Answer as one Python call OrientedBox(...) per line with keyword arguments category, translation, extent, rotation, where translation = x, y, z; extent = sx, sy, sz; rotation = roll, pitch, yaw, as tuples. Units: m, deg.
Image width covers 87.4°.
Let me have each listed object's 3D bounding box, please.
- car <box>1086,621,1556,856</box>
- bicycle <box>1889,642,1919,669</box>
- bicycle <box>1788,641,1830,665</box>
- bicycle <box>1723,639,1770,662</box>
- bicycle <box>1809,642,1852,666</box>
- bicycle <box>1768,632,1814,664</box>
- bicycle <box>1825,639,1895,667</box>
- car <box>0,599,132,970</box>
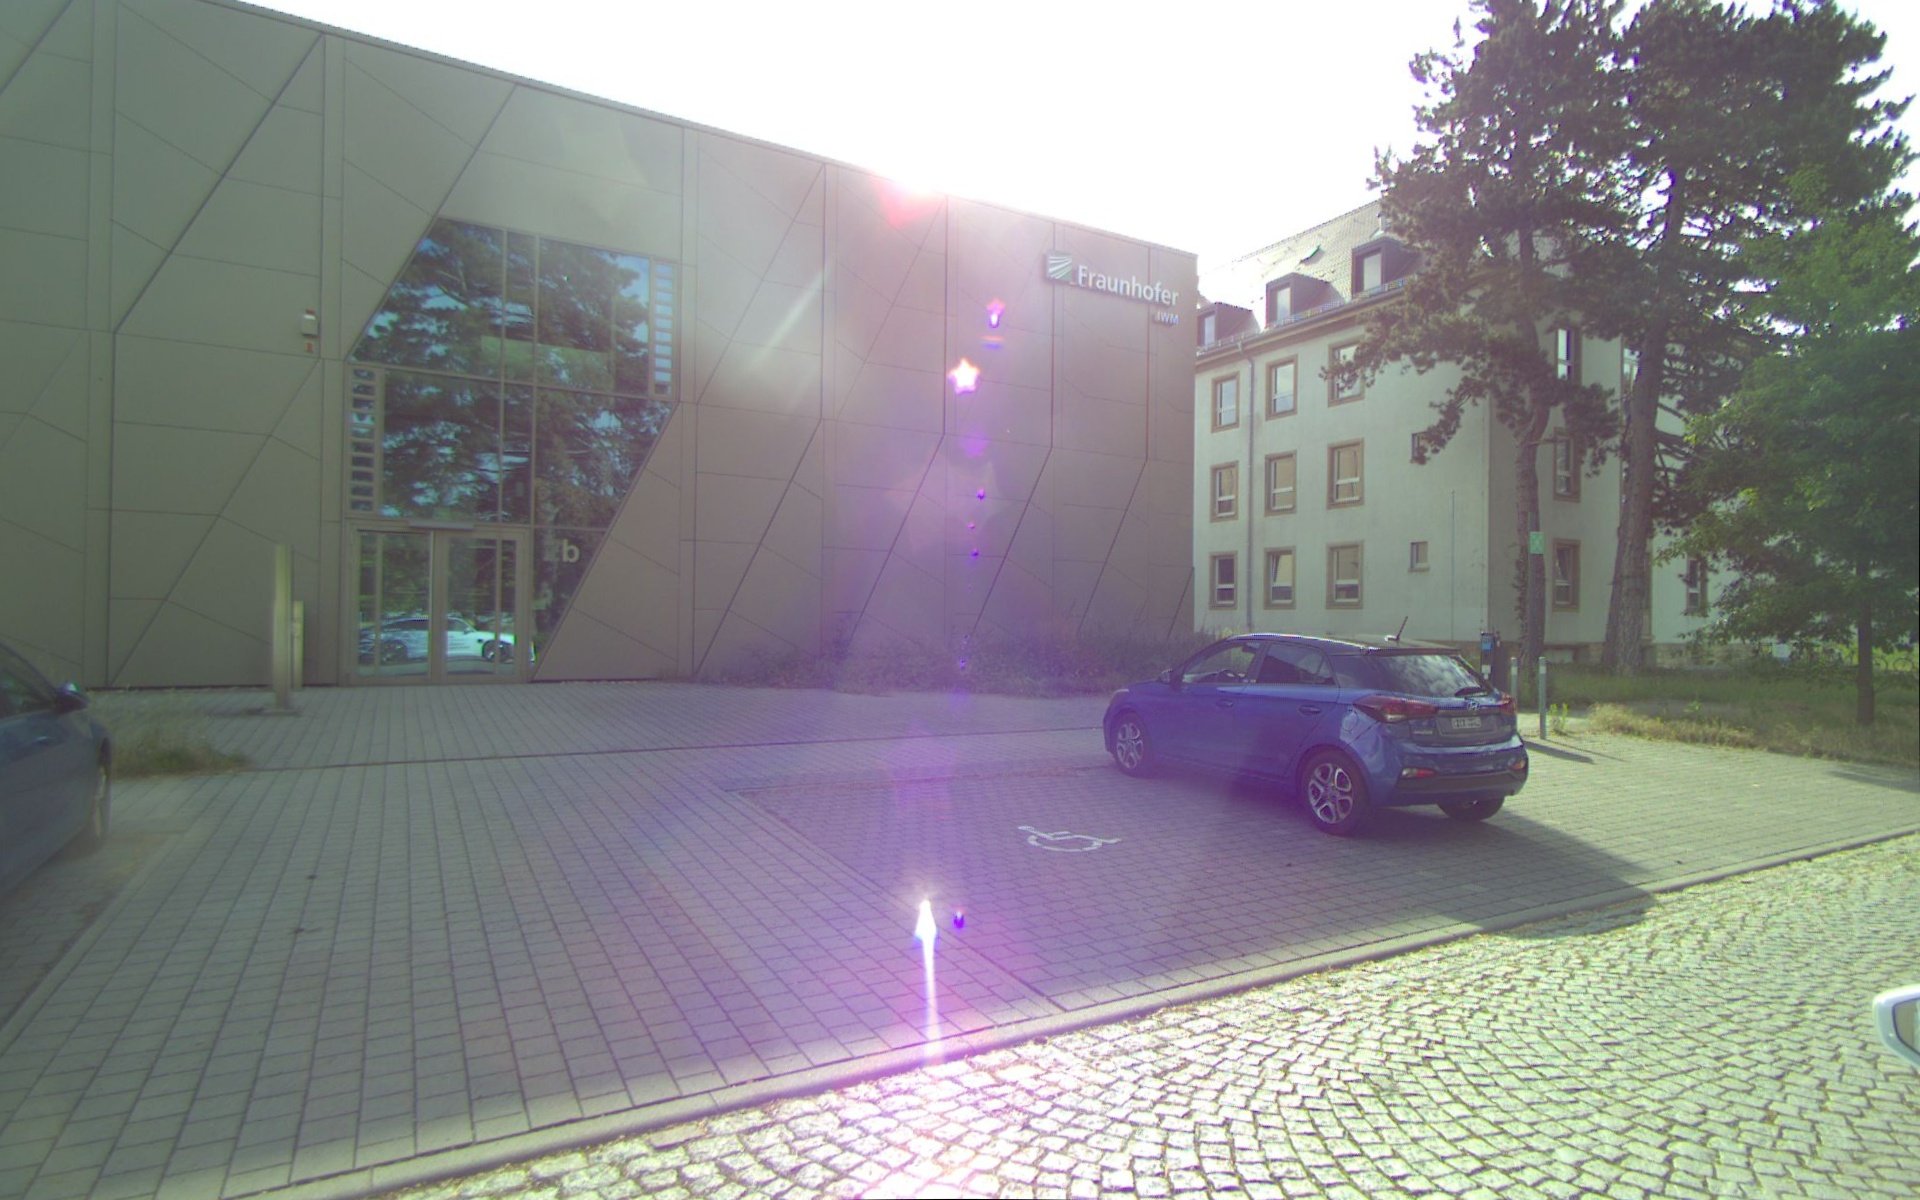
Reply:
OrientedBox(category="car", translation=(2.936, 1.014, 9.020), extent=(1.698, 1.483, 3.820), rotation=(2, 0, -28))
OrientedBox(category="bicycle", translation=(39.984, 2.309, 41.609), extent=(0.819, 1.061, 2.105), rotation=(1, -2, -32))
OrientedBox(category="bicycle", translation=(38.850, 2.428, 45.976), extent=(2.099, 1.061, 0.822), rotation=(2, -1, -30))
OrientedBox(category="bicycle", translation=(37.705, 2.405, 48.154), extent=(2.523, 1.061, 0.896), rotation=(2, -1, -30))
OrientedBox(category="bicycle", translation=(39.260, 2.437, 45.313), extent=(2.099, 1.061, 0.822), rotation=(2, -1, -30))
OrientedBox(category="bicycle", translation=(38.766, 2.218, 46.840), extent=(2.523, 1.456, 0.822), rotation=(2, -1, -30))
OrientedBox(category="bicycle", translation=(38.888, 2.288, 43.421), extent=(0.819, 1.123, 2.105), rotation=(1, -2, -32))
OrientedBox(category="car", translation=(-5.066, 0.776, 4.356), extent=(1.662, 1.483, 4.234), rotation=(1, 1, -31))
